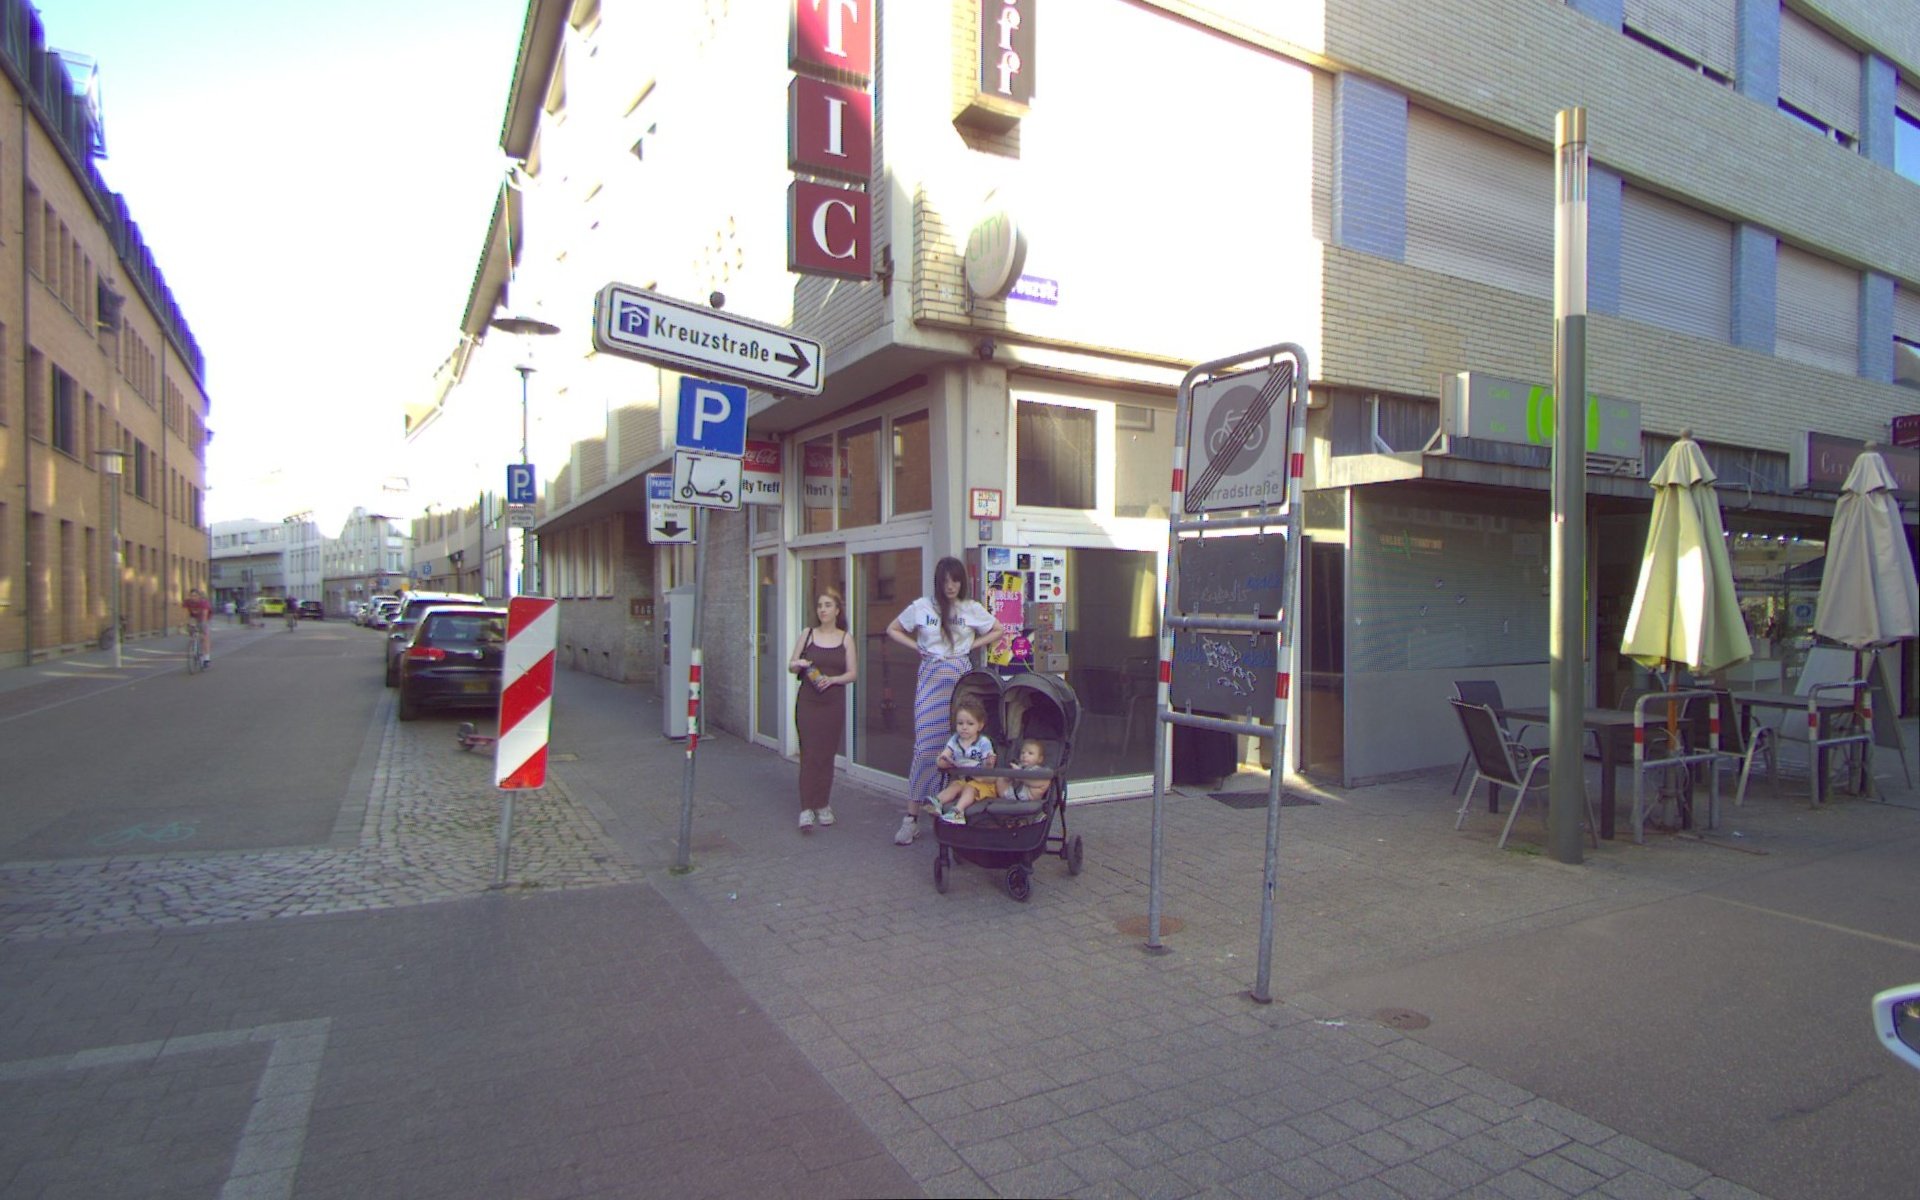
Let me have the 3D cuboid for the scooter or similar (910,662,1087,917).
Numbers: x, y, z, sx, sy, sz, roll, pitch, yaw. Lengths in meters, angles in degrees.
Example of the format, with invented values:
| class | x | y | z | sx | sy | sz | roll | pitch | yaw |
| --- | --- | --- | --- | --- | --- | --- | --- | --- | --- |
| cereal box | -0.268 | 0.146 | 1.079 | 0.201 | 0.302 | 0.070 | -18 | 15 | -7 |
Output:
| class | x | y | z | sx | sy | sz | roll | pitch | yaw |
| --- | --- | --- | --- | --- | --- | --- | --- | --- | --- |
| scooter or similar | 0.243 | 0.950 | 5.408 | 0.783 | 1.159 | 0.954 | 0 | 1 | 13 |

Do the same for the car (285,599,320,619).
| class | x | y | z | sx | sy | sz | roll | pitch | yaw |
| --- | --- | --- | --- | --- | --- | --- | --- | --- | --- |
| car | -56.575 | 0.741 | 86.427 | 1.922 | 1.673 | 3.788 | 0 | 0 | -43 |

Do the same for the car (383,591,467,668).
| class | x | y | z | sx | sy | sz | roll | pitch | yaw |
| --- | --- | --- | --- | --- | --- | --- | --- | --- | --- |
| car | -13.342 | 0.708 | 24.999 | 1.654 | 1.727 | 3.981 | 3 | -2 | -29 |

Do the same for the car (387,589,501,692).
| class | x | y | z | sx | sy | sz | roll | pitch | yaw |
| --- | --- | --- | --- | --- | --- | --- | --- | --- | --- |
| car | -9.667 | 0.714 | 18.720 | 1.654 | 1.683 | 4.049 | 3 | -2 | -29 |

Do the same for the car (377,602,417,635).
| class | x | y | z | sx | sy | sz | roll | pitch | yaw |
| --- | --- | --- | --- | --- | --- | --- | --- | --- | --- |
| car | -30.141 | 0.975 | 53.728 | 1.675 | 1.701 | 3.478 | 3 | -2 | -31 |

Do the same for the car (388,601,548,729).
| class | x | y | z | sx | sy | sz | roll | pitch | yaw |
| --- | --- | --- | --- | --- | --- | --- | --- | --- | --- |
| car | -6.974 | 0.815 | 14.084 | 1.720 | 1.505 | 3.781 | 3 | -1 | -29 |

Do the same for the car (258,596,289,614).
| class | x | y | z | sx | sy | sz | roll | pitch | yaw |
| --- | --- | --- | --- | --- | --- | --- | --- | --- | --- |
| car | -67.118 | 0.487 | 98.158 | 1.922 | 1.673 | 3.788 | 2 | -1 | -43 |

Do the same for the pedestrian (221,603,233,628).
| class | x | y | z | sx | sy | sz | roll | pitch | yaw |
| --- | --- | --- | --- | --- | --- | --- | --- | --- | --- |
| pedestrian | -47.012 | 0.992 | 64.397 | 0.537 | 1.565 | 0.402 | 1 | -1 | -31 |

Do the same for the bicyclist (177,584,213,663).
| class | x | y | z | sx | sy | sz | roll | pitch | yaw |
| --- | --- | --- | --- | --- | --- | --- | --- | --- | --- |
| bicyclist | -15.128 | 0.462 | 19.872 | 0.423 | 1.518 | 0.868 | -2 | 1 | -31 |

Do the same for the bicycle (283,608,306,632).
| class | x | y | z | sx | sy | sz | roll | pitch | yaw |
| --- | --- | --- | --- | --- | --- | --- | --- | --- | --- |
| bicycle | -31.701 | 0.943 | 47.859 | 0.697 | 1.118 | 1.813 | -4 | 2 | -30 |

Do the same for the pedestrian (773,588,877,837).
| class | x | y | z | sx | sy | sz | roll | pitch | yaw |
| --- | --- | --- | --- | --- | --- | --- | --- | --- | --- |
| pedestrian | -0.922 | 0.729 | 6.834 | 0.526 | 1.601 | 0.508 | -3 | 1 | -23 |

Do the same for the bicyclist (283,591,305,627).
| class | x | y | z | sx | sy | sz | roll | pitch | yaw |
| --- | --- | --- | --- | --- | --- | --- | --- | --- | --- |
| bicyclist | -31.723 | 0.420 | 47.839 | 0.764 | 1.678 | 0.949 | -3 | 1 | -31 |

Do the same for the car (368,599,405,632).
| class | x | y | z | sx | sy | sz | roll | pitch | yaw |
| --- | --- | --- | --- | --- | --- | --- | --- | --- | --- |
| car | -33.317 | 0.886 | 58.310 | 1.675 | 1.798 | 3.625 | 3 | -2 | -31 |

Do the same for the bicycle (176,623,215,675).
| class | x | y | z | sx | sy | sz | roll | pitch | yaw |
| --- | --- | --- | --- | --- | --- | --- | --- | --- | --- |
| bicycle | -15.135 | 0.949 | 19.903 | 0.431 | 0.970 | 1.578 | 0 | 0 | -30 |

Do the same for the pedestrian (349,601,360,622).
| class | x | y | z | sx | sy | sz | roll | pitch | yaw |
| --- | --- | --- | --- | --- | --- | --- | --- | --- | --- |
| pedestrian | -42.175 | 0.789 | 69.954 | 0.566 | 1.499 | 0.469 | 0 | 0 | -37 |

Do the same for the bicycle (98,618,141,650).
| class | x | y | z | sx | sy | sz | roll | pitch | yaw |
| --- | --- | --- | --- | --- | --- | --- | --- | --- | --- |
| bicycle | -25.456 | 1.007 | 30.461 | 0.636 | 0.893 | 2.534 | 1 | -1 | -32 |

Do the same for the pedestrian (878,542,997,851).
| class | x | y | z | sx | sy | sz | roll | pitch | yaw |
| --- | --- | --- | --- | --- | --- | --- | --- | --- | --- |
| pedestrian | -0.133 | 0.584 | 6.355 | 0.647 | 1.844 | 0.571 | -2 | 1 | 0 |

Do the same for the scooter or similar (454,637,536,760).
| class | x | y | z | sx | sy | sz | roll | pitch | yaw |
| --- | --- | --- | --- | --- | --- | --- | --- | --- | --- |
| scooter or similar | -4.700 | 0.982 | 10.154 | 0.865 | 1.199 | 0.208 | 0 | 0 | 21 |
